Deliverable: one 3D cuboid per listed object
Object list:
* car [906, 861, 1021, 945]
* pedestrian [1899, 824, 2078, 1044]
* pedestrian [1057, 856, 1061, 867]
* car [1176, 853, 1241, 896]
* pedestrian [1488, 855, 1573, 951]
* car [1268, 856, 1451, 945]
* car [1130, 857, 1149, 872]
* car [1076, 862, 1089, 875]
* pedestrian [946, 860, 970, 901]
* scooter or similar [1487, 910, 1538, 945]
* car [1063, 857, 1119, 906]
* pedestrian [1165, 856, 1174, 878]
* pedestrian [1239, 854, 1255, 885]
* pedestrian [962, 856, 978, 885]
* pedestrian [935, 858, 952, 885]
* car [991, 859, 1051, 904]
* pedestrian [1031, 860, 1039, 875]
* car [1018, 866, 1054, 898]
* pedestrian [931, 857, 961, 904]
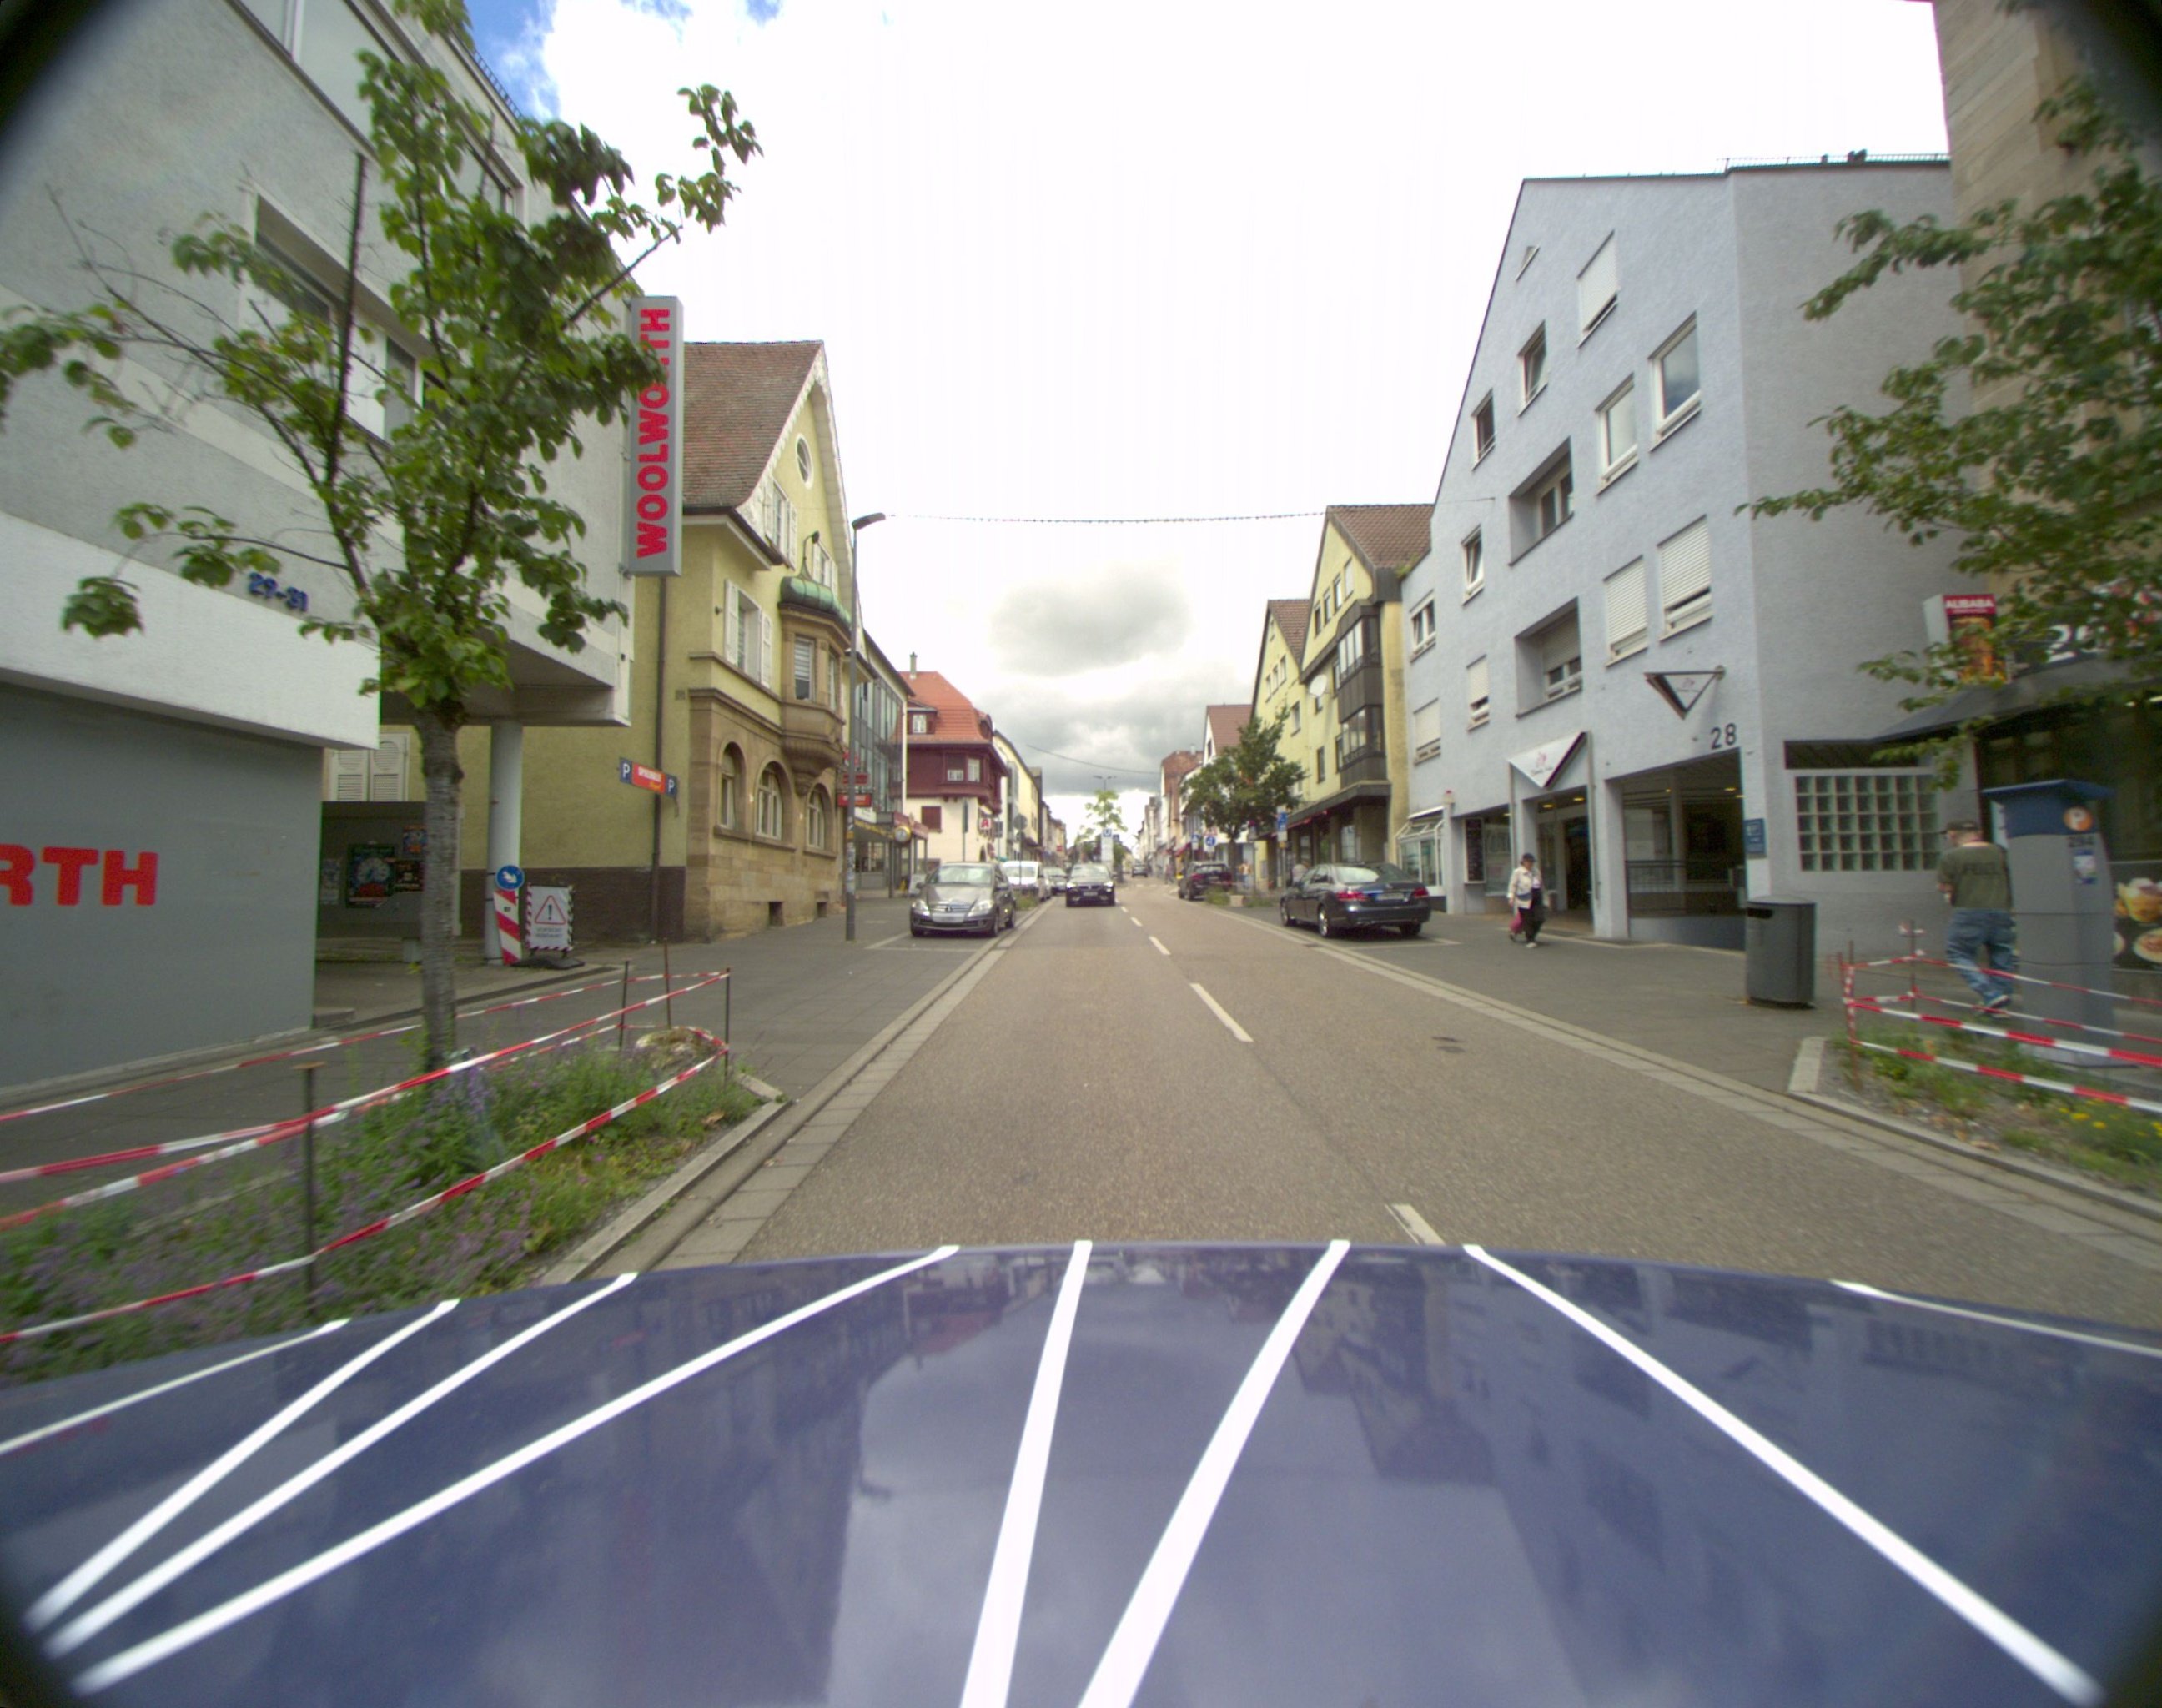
[{"bbox_3d":[-2.465,0.987,16.876,1.752,1.598,3.801,1,0,3],"label":"car"},{"bbox_3d":[7.509,0.631,6.323,0.588,1.703,0.710,-3,1,0],"label":"pedestrian"},{"bbox_3d":[-3.402,1.120,116.560,0.663,1.696,0.780,0,0,-1],"label":"pedestrian"},{"bbox_3d":[5.476,0.876,33.290,2.012,1.683,4.608,-2,-1,0],"label":"car"},{"bbox_3d":[7.217,0.768,12.246,0.828,1.455,0.810,-3,1,0],"label":"pedestrian"},{"bbox_3d":[5.549,0.847,15.926,1.931,1.484,4.842,-3,0,-1],"label":"car"},{"bbox_3d":[6.911,1.267,90.071,1.968,1.611,4.356,2,0,3],"label":"car"},{"bbox_3d":[0.251,2.193,116.323,1.998,2.002,4.000,-1,0,1],"label":"car"},{"bbox_3d":[-5.253,1.129,32.487,0.798,1.717,1.053,0,0,1],"label":"pedestrian"},{"bbox_3d":[7.310,1.245,12.892,0.526,0.516,0.573,-3,0,0],"label":"scooter or similar"},{"bbox_3d":[0.322,0.992,29.271,1.914,1.560,4.371,-4,0,-1],"label":"car"},{"bbox_3d":[7.305,1.074,62.568,0.696,1.729,0.825,0,0,3],"label":"pedestrian"},{"bbox_3d":[9.203,0.855,42.105,0.638,1.728,0.835,1,0,-2],"label":"pedestrian"},{"bbox_3d":[-6.924,1.023,47.376,0.776,1.759,0.818,-1,0,2],"label":"pedestrian"},{"bbox_3d":[-8.388,1.044,46.433,0.774,1.635,0.870,1,0,6],"label":"pedestrian"},{"bbox_3d":[-2.482,1.121,32.743,1.881,1.789,4.734,-1,0,4],"label":"car"},{"bbox_3d":[-5.244,1.532,86.764,0.759,1.663,0.780,2,0,-1],"label":"pedestrian"},{"bbox_3d":[-2.173,1.324,37.515,1.707,1.459,3.999,0,0,-2],"label":"car"},{"bbox_3d":[-4.780,0.925,26.905,0.825,1.656,0.802,-1,0,6],"label":"pedestrian"}]
